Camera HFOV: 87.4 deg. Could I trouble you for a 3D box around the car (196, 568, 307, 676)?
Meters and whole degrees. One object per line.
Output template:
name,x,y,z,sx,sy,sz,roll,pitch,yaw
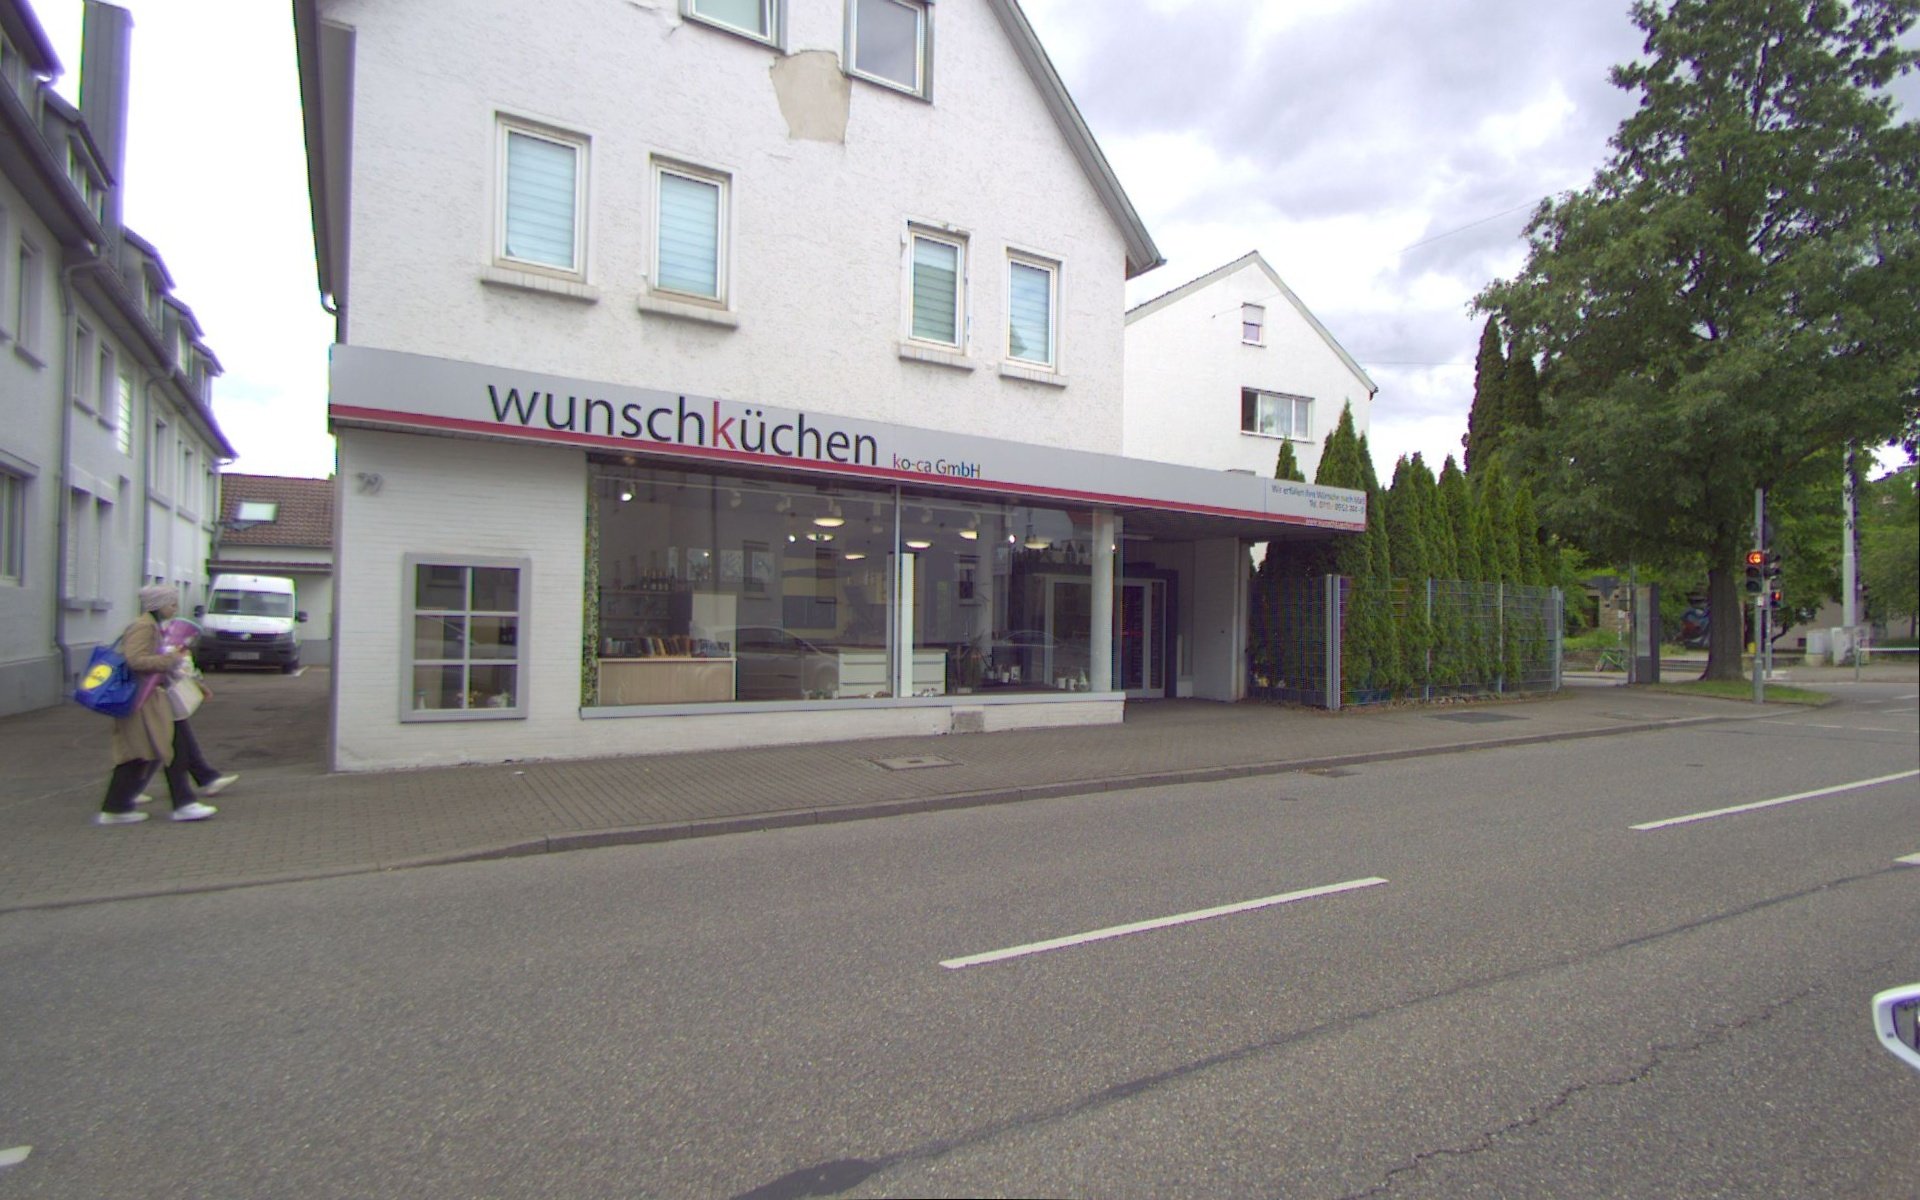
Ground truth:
car,-19.064,0.560,27.266,1.938,2.541,5.943,4,-2,-32

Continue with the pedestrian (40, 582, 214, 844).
pedestrian,-5.655,0.723,6.871,0.784,1.638,0.747,1,2,-31

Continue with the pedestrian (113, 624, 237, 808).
pedestrian,-5.930,0.843,7.619,0.647,1.297,0.596,1,1,-31
